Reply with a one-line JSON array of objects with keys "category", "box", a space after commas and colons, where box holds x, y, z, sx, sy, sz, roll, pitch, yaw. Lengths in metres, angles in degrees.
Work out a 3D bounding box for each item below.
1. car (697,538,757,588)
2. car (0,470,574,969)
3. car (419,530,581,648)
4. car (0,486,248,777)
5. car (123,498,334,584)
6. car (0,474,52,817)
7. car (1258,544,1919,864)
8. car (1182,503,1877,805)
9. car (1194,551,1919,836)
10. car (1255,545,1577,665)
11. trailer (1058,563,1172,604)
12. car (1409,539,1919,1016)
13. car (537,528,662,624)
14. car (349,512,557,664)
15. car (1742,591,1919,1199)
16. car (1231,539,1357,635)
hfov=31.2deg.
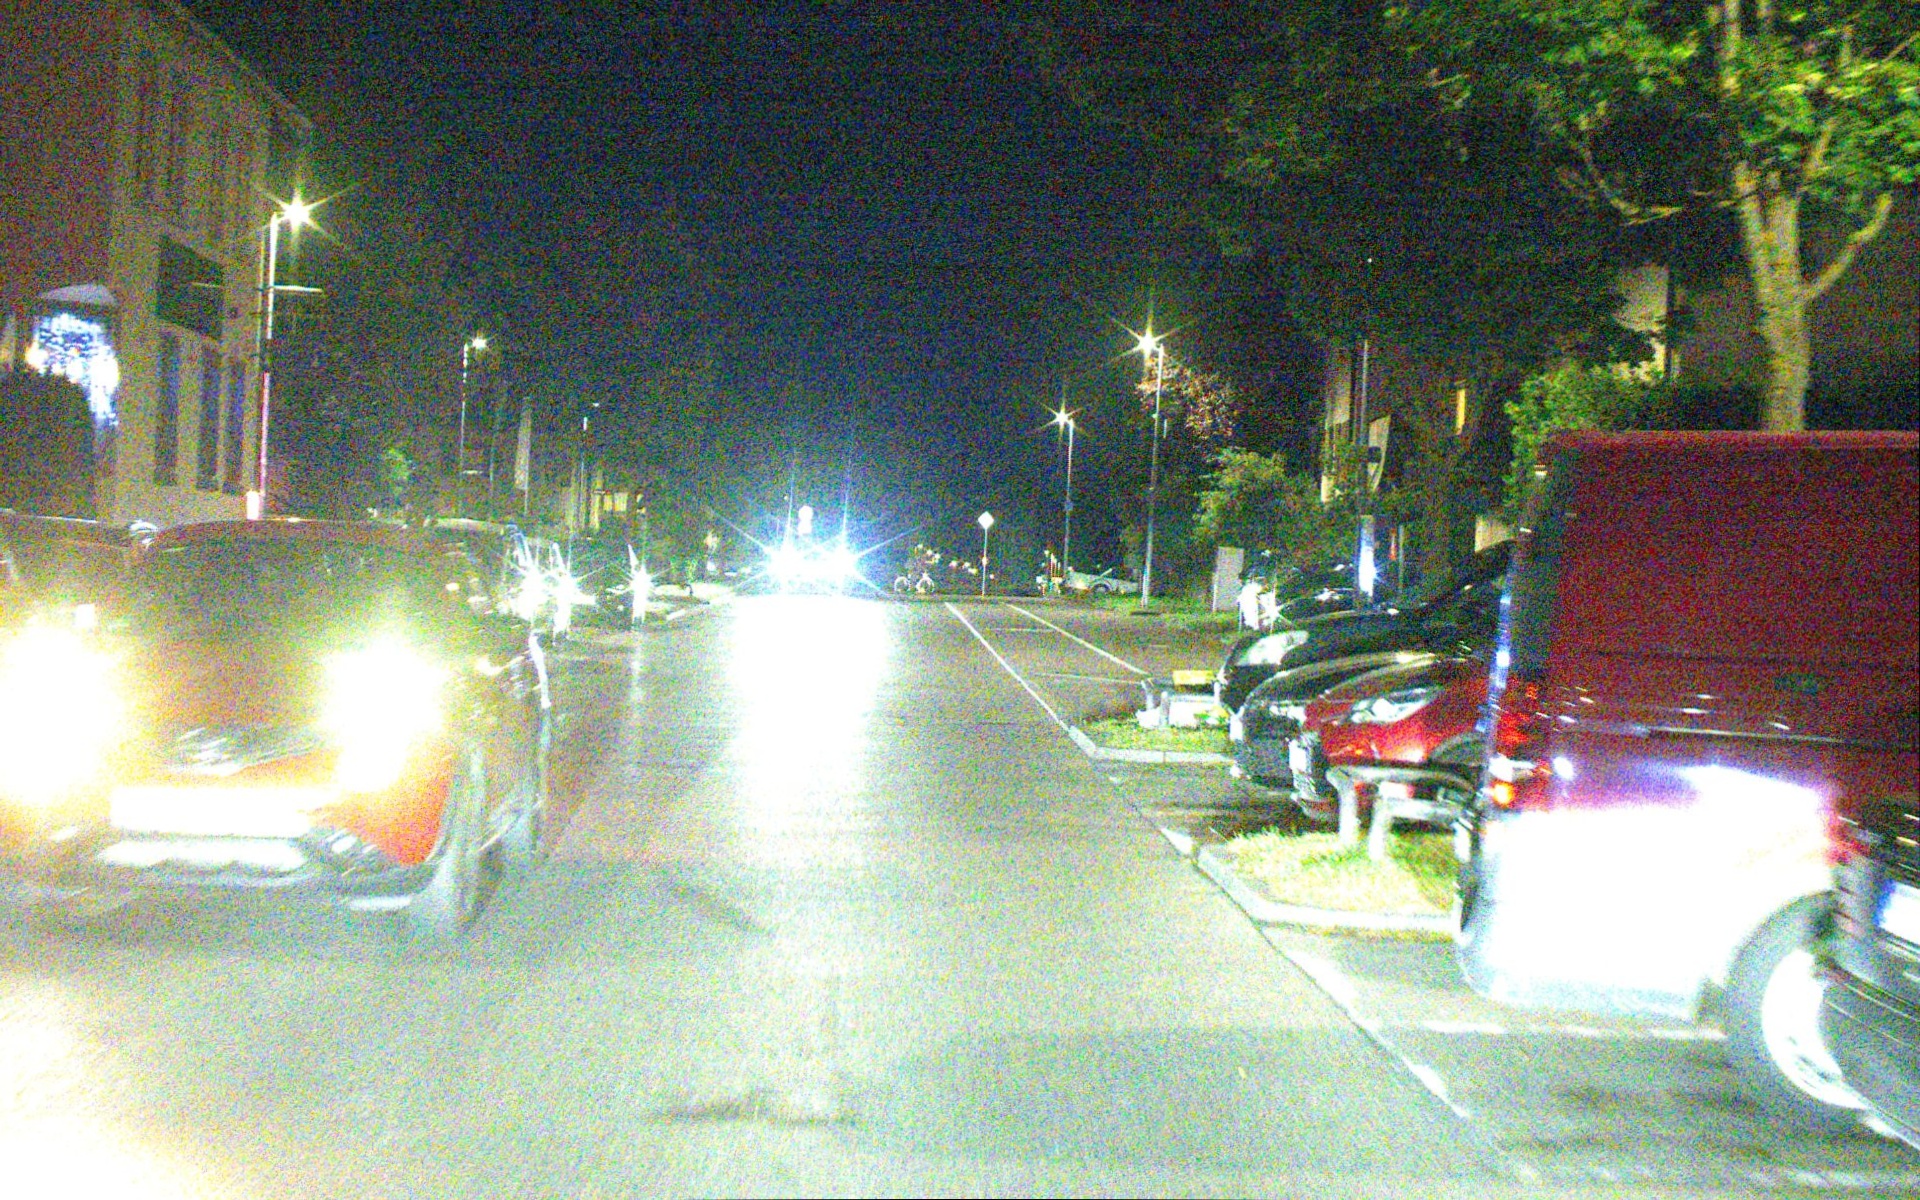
[{"category": "car", "box": [-7.918, -1.260, 117.166, 1.672, 1.585, 3.987, 3, 0, 1]}, {"category": "car", "box": [-2.681, 0.380, 14.032, 1.719, 1.709, 3.961, 1, 1, 0]}, {"category": "car", "box": [-6.277, -0.183, 47.246, 1.770, 1.463, 3.967, 3, 1, -2]}, {"category": "car", "box": [-5.782, 0.087, 20.884, 2.115, 1.542, 4.478, 3, 1, -3]}, {"category": "car", "box": [-14.563, -1.186, 68.643, 3.986, 1.697, 1.949, 0, 1, -8]}, {"category": "car", "box": [-5.615, 0.194, 15.353, 2.115, 1.664, 4.170, 3, 1, -3]}, {"category": "car", "box": [3.628, 0.524, 17.924, 3.916, 1.509, 1.855, 1, 0, -2]}, {"category": "car", "box": [3.705, 0.322, 22.996, 4.355, 1.810, 2.031, 1, 1, 5]}, {"category": "car", "box": [3.468, 0.518, 20.236, 3.915, 1.508, 1.855, 1, 1, -4]}, {"category": "car", "box": [5.880, 0.054, 44.645, 3.904, 1.481, 1.833, 1, 1, -1]}, {"category": "trailer", "box": [4.918, -0.535, 109.579, 3.432, 0.999, 1.954, 5, 0, -1]}, {"category": "car", "box": [3.676, 0.601, 12.366, 3.916, 1.546, 1.987, 1, 1, 3]}, {"category": "car", "box": [-5.998, -0.431, 57.518, 1.749, 1.463, 4.009, 3, 1, -2]}, {"category": "car", "box": [-6.081, -0.182, 41.681, 1.928, 1.631, 4.471, 3, 1, -2]}, {"category": "car", "box": [3.960, 0.759, 6.712, 4.398, 1.415, 1.935, 1, 1, 1]}, {"category": "car", "box": [5.685, -0.248, 58.834, 1.639, 1.554, 3.679, 2, 1, -2]}]
